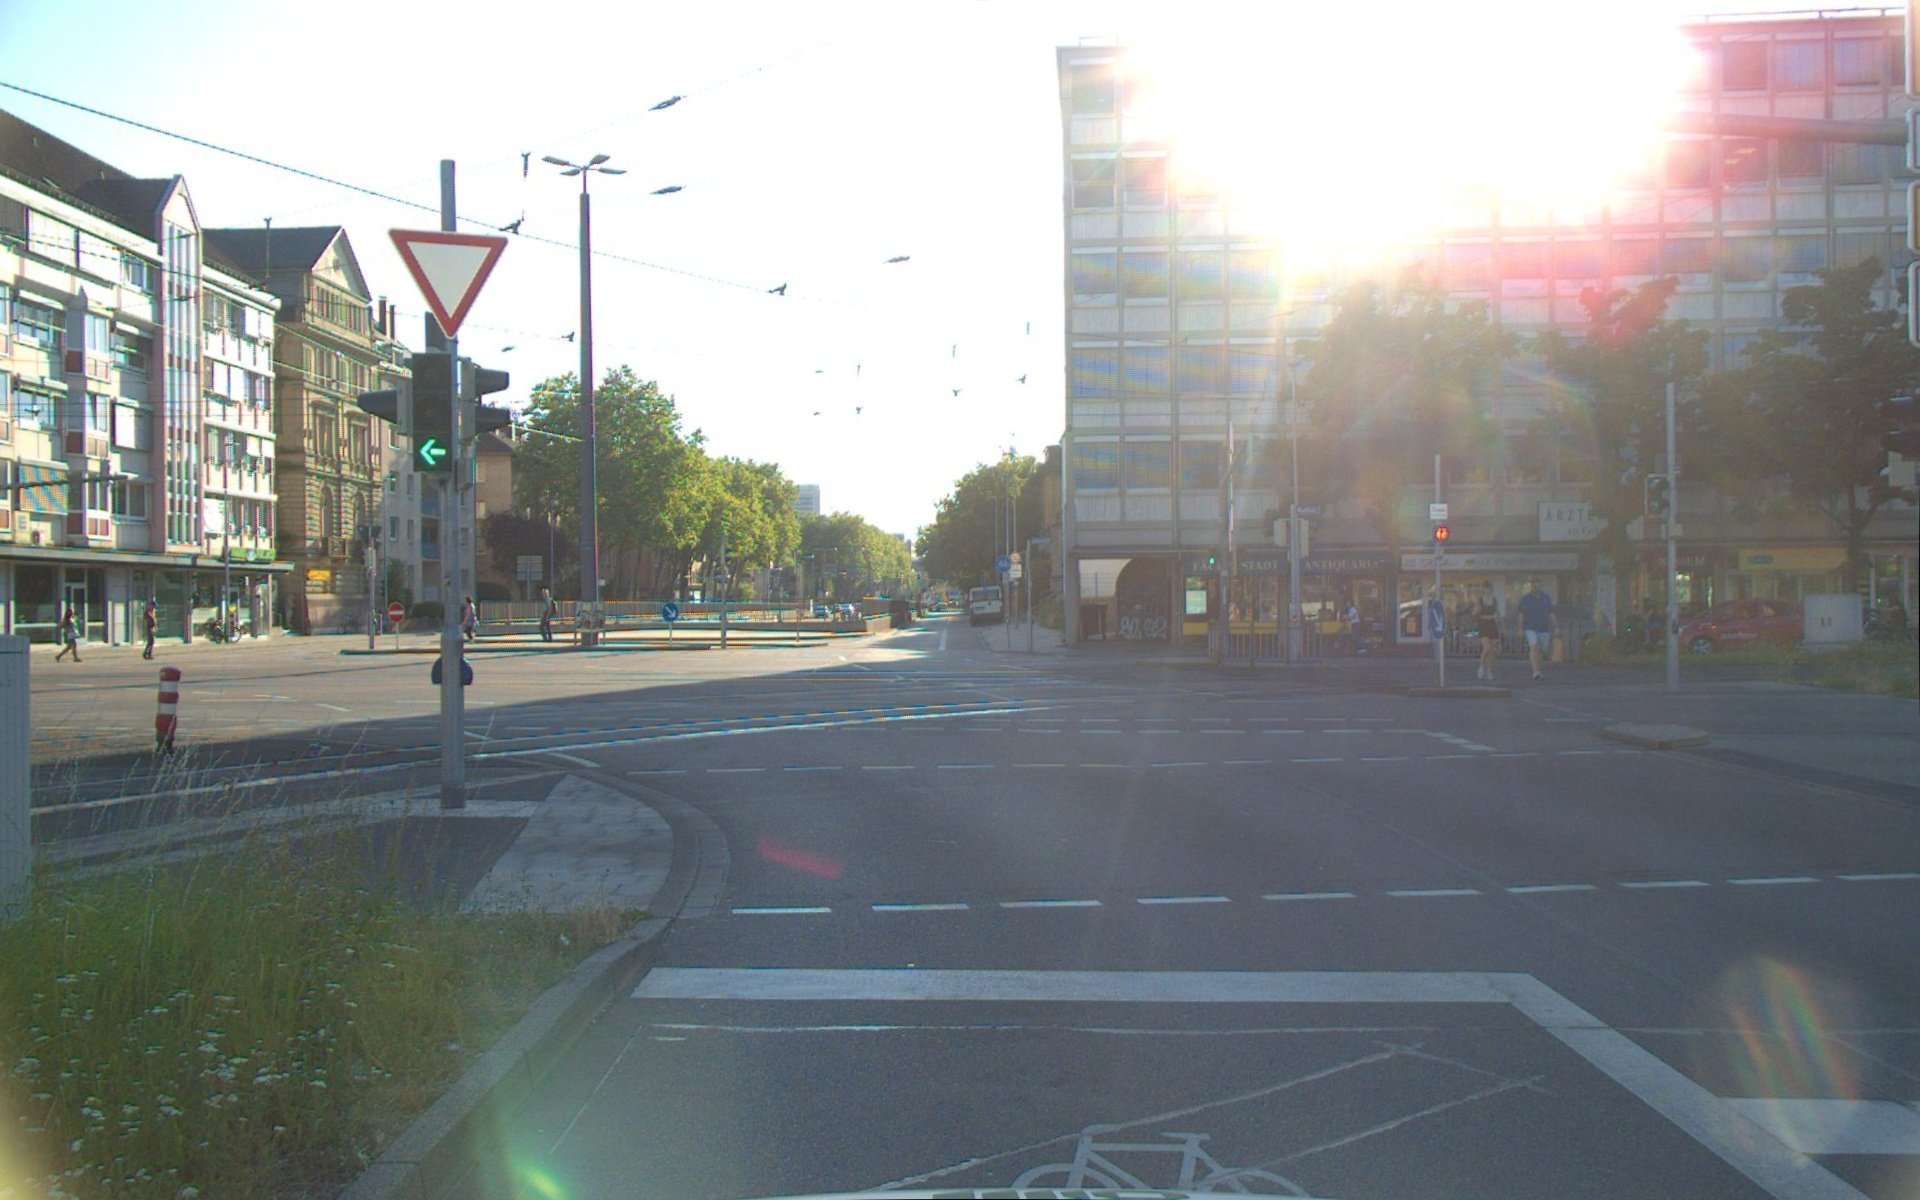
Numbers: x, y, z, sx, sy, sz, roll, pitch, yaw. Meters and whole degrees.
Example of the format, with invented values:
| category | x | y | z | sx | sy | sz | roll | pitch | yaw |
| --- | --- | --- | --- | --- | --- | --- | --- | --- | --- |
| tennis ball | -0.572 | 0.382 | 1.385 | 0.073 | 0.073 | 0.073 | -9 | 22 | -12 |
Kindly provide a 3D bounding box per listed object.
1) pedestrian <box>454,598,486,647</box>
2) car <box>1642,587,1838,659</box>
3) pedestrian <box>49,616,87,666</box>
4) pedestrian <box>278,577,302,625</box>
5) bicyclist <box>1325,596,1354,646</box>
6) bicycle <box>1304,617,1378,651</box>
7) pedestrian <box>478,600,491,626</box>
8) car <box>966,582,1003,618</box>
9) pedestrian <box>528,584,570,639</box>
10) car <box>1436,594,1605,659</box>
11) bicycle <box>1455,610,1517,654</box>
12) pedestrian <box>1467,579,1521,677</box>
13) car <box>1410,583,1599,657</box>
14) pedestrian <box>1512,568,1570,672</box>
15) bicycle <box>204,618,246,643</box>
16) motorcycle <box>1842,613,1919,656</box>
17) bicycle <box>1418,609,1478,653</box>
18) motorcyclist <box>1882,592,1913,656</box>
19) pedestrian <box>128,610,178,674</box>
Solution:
| category | x | y | z | sx | sy | sz | roll | pitch | yaw |
| --- | --- | --- | --- | --- | --- | --- | --- | --- | --- |
| pedestrian | -15.243 | 0.702 | 51.450 | 0.844 | 1.491 | 0.679 | 1 | -6 | -30 |
| car | 18.913 | 0.554 | 40.242 | 3.903 | 1.646 | 1.845 | 1 | 0 | 4 |
| pedestrian | -26.548 | 1.220 | 49.246 | 0.691 | 1.479 | 0.855 | 1 | -1 | -5 |
| pedestrian | -34.470 | 0.065 | 85.081 | 0.910 | 2.440 | 0.958 | 1 | -1 | -11 |
| bicyclist | 11.110 | 0.612 | 48.380 | 0.665 | 1.449 | 0.671 | 1 | -1 | -2 |
| bicycle | 11.139 | 0.981 | 48.381 | 1.983 | 0.957 | 0.671 | 1 | -1 | -2 |
| pedestrian | -31.731 | 0.887 | 110.397 | 0.681 | 1.725 | 0.724 | 1 | -1 | -1 |
| car | 1.570 | 0.020 | 103.926 | 2.238 | 2.210 | 4.834 | 1 | 0 | 1 |
| pedestrian | -13.375 | 0.382 | 53.808 | 1.171 | 1.761 | 0.855 | 1 | -1 | -5 |
| car | 15.130 | 0.710 | 44.828 | 3.982 | 1.646 | 1.845 | 1 | 0 | 4 |
| bicycle | 15.762 | 0.943 | 49.598 | 0.735 | 1.163 | 2.638 | 1 | 2 | -6 |
| pedestrian | 9.530 | 0.491 | 29.543 | 0.681 | 1.712 | 1.042 | 1 | -1 | 4 |
| car | 12.862 | 0.474 | 39.233 | 3.903 | 1.646 | 1.845 | 1 | 0 | 4 |
| pedestrian | 10.397 | 0.358 | 29.623 | 0.681 | 1.824 | 1.042 | 1 | -1 | 1 |
| bicycle | -32.432 | 1.338 | 73.017 | 0.441 | 1.089 | 2.093 | 1 | 0 | 16 |
| motorcycle | 22.872 | 0.845 | 40.115 | 2.606 | 1.019 | 0.535 | 1 | -1 | 4 |
| bicycle | 14.591 | 0.914 | 49.534 | 0.735 | 1.163 | 2.638 | 1 | 2 | -6 |
| motorcyclist | 22.749 | 0.585 | 40.132 | 0.451 | 1.535 | 0.535 | 1 | -1 | 4 |
| pedestrian | -25.541 | 1.317 | 52.340 | 1.171 | 1.915 | 0.856 | 1 | 4 | -5 |
